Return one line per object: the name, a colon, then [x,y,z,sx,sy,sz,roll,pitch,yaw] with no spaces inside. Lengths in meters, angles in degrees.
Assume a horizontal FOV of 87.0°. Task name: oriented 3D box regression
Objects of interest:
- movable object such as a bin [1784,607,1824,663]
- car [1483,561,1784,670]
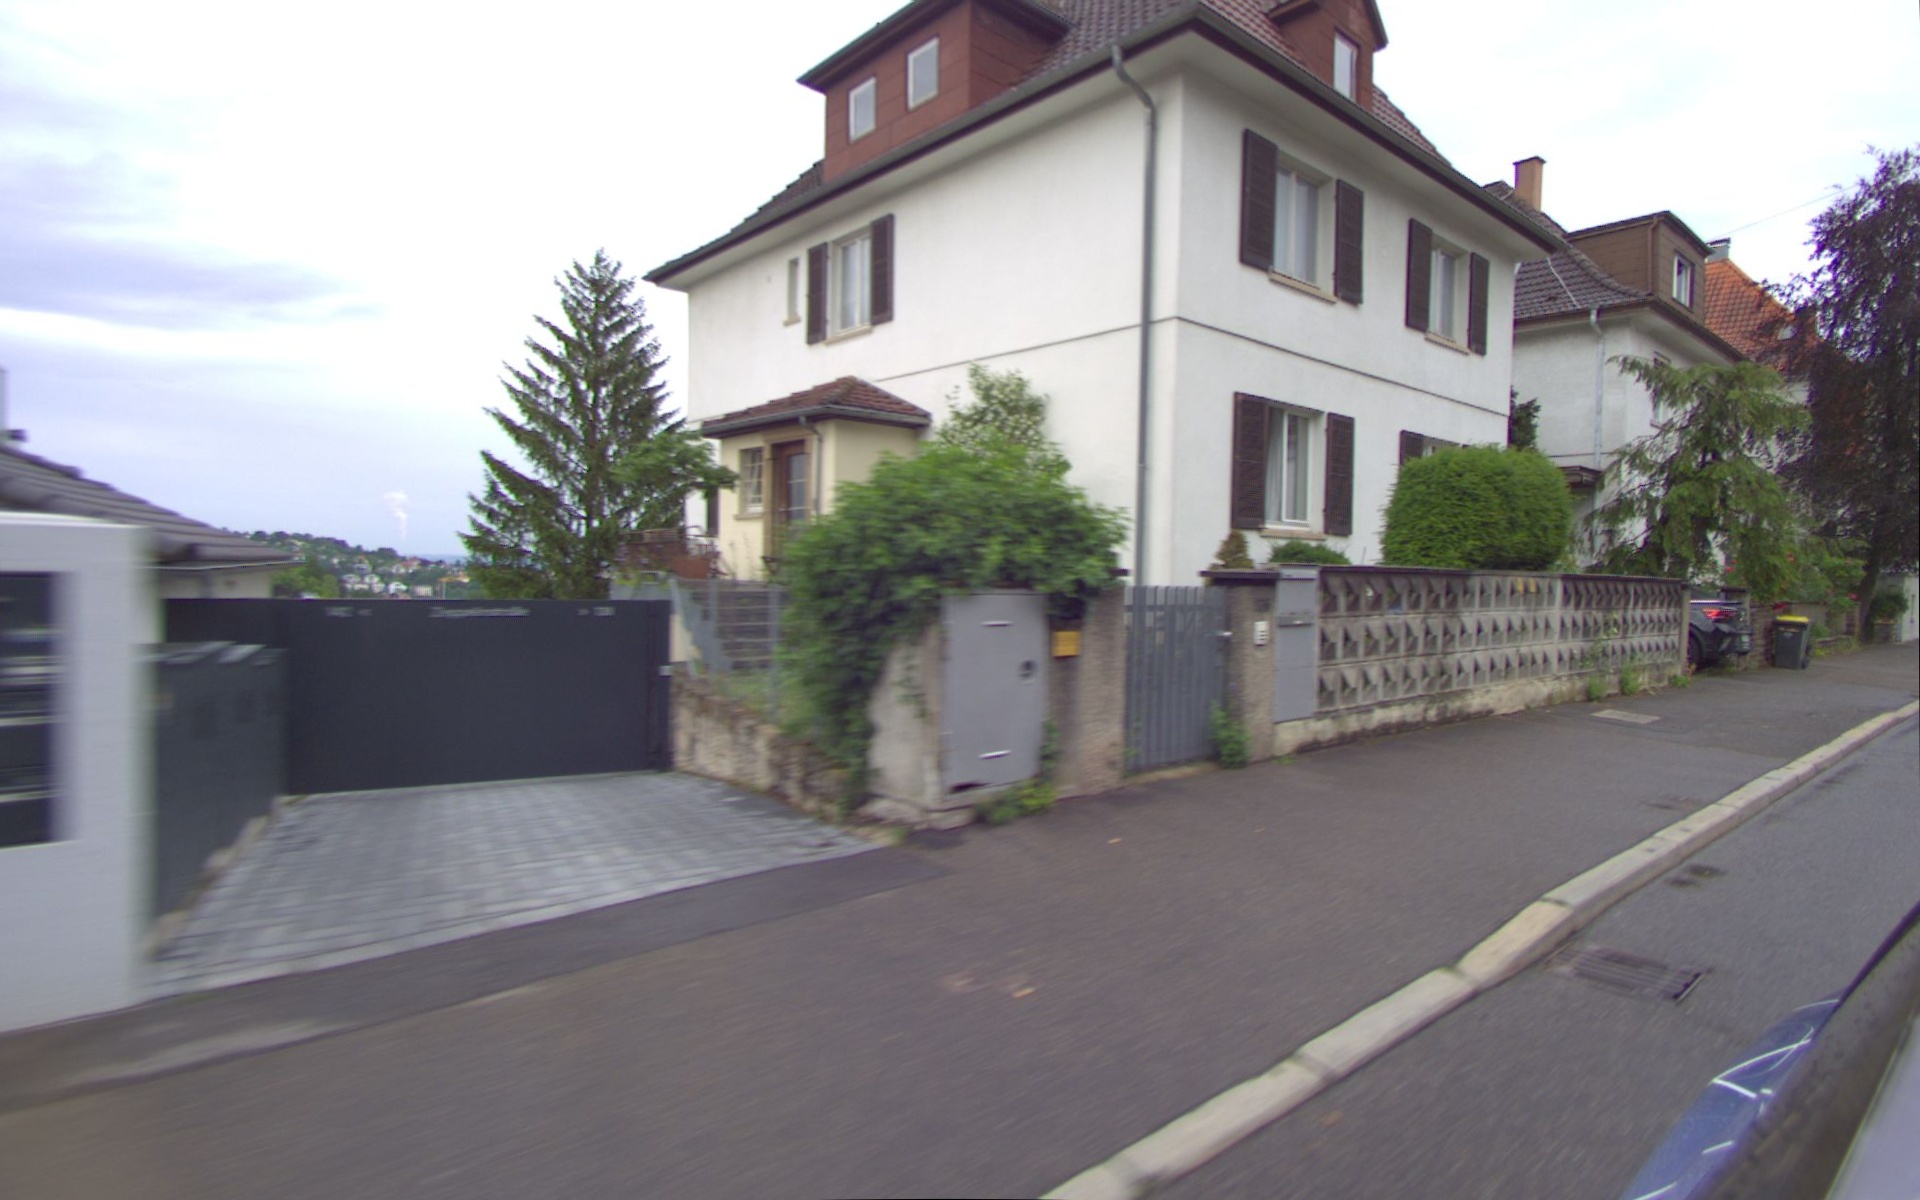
movable object such as a bin: [14.996,0.610,17.984,0.494,0.968,0.495,2,-1,-43]
car: [11.554,0.220,17.552,1.884,1.661,3.994,1,0,-41]
